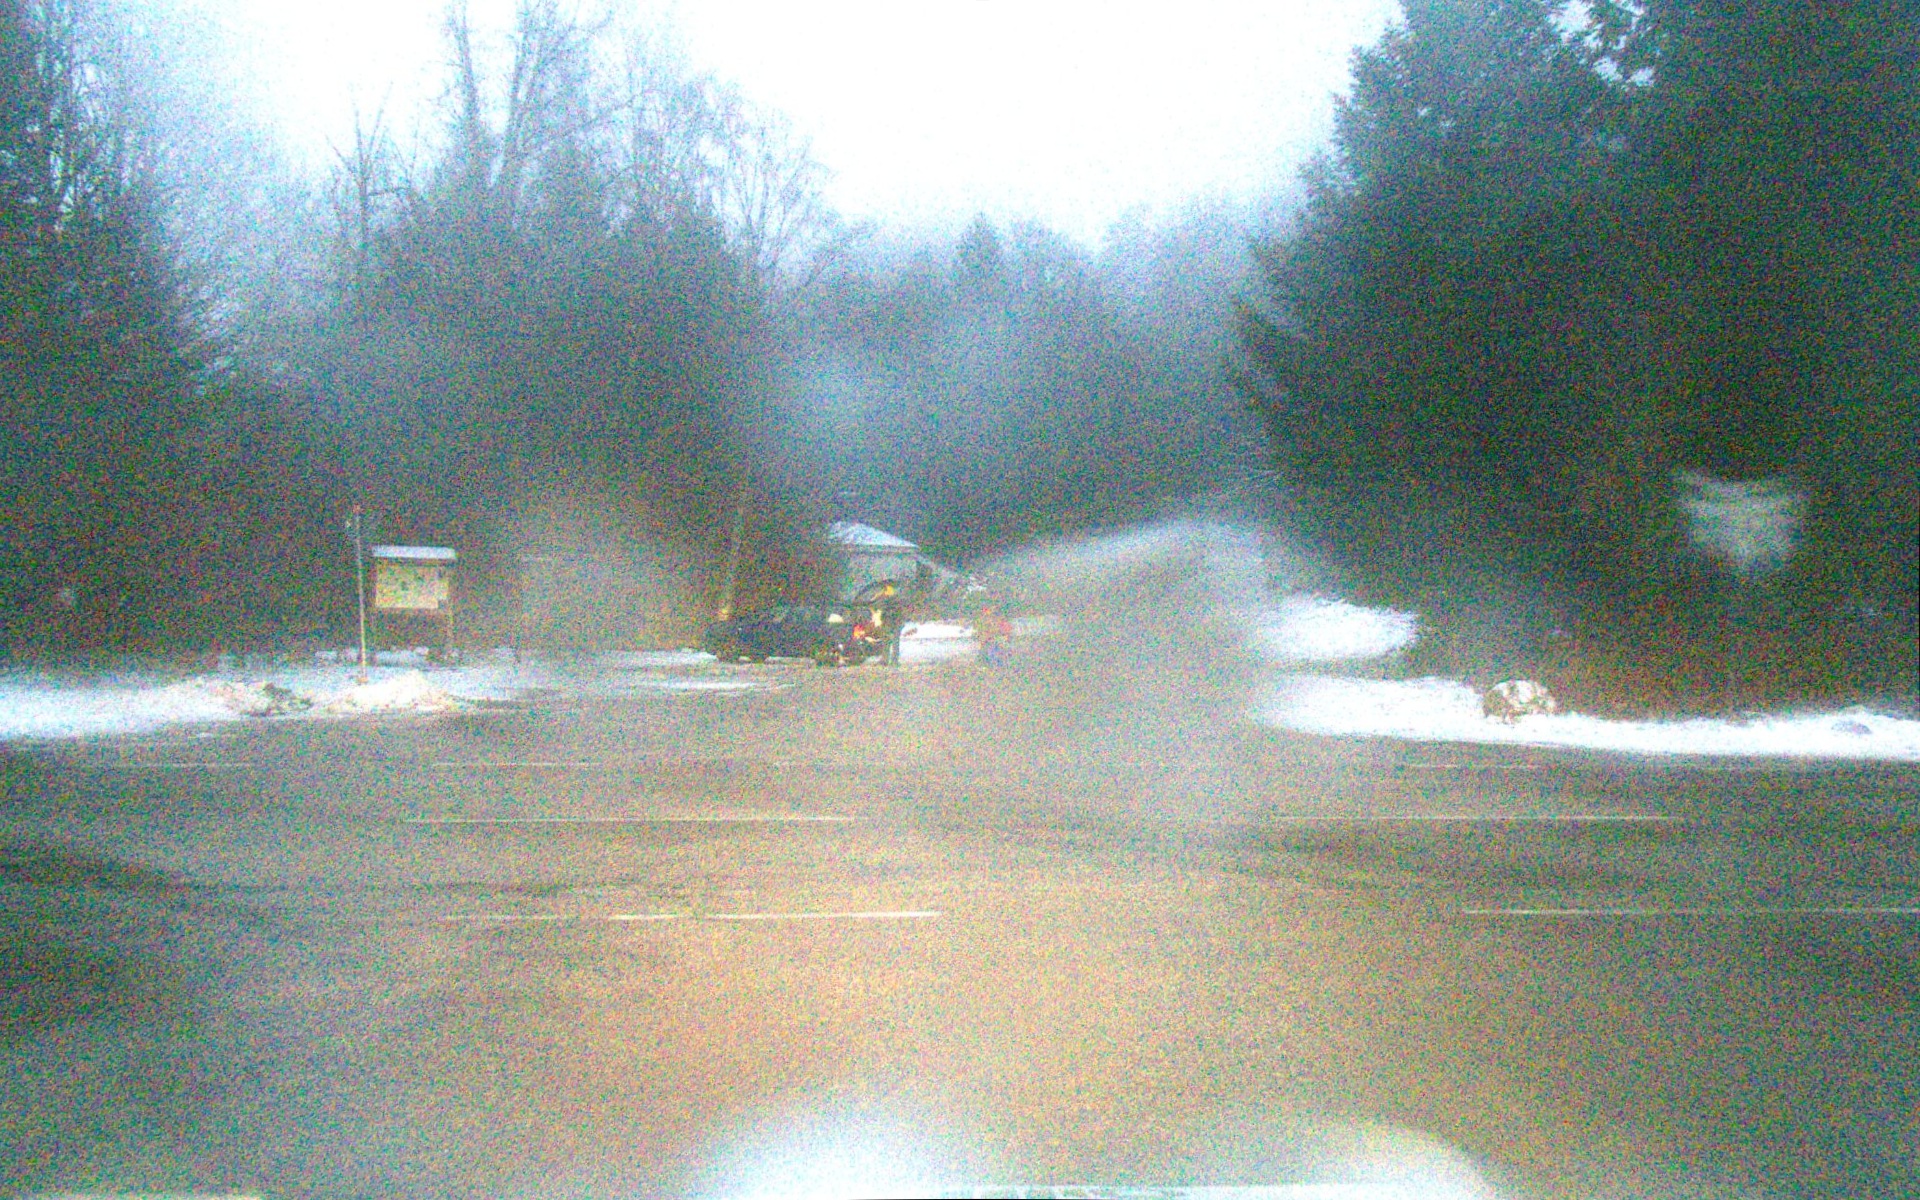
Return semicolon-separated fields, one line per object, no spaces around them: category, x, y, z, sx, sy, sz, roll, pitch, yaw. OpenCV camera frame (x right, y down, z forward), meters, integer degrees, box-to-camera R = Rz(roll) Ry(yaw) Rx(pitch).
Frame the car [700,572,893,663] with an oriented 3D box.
car;-3.690;0.398;37.652;3.863;1.914;2.001;1;-1;15

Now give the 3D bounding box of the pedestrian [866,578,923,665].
pedestrian;-1.447;0.479;36.576;0.940;1.860;0.925;1;-1;20
